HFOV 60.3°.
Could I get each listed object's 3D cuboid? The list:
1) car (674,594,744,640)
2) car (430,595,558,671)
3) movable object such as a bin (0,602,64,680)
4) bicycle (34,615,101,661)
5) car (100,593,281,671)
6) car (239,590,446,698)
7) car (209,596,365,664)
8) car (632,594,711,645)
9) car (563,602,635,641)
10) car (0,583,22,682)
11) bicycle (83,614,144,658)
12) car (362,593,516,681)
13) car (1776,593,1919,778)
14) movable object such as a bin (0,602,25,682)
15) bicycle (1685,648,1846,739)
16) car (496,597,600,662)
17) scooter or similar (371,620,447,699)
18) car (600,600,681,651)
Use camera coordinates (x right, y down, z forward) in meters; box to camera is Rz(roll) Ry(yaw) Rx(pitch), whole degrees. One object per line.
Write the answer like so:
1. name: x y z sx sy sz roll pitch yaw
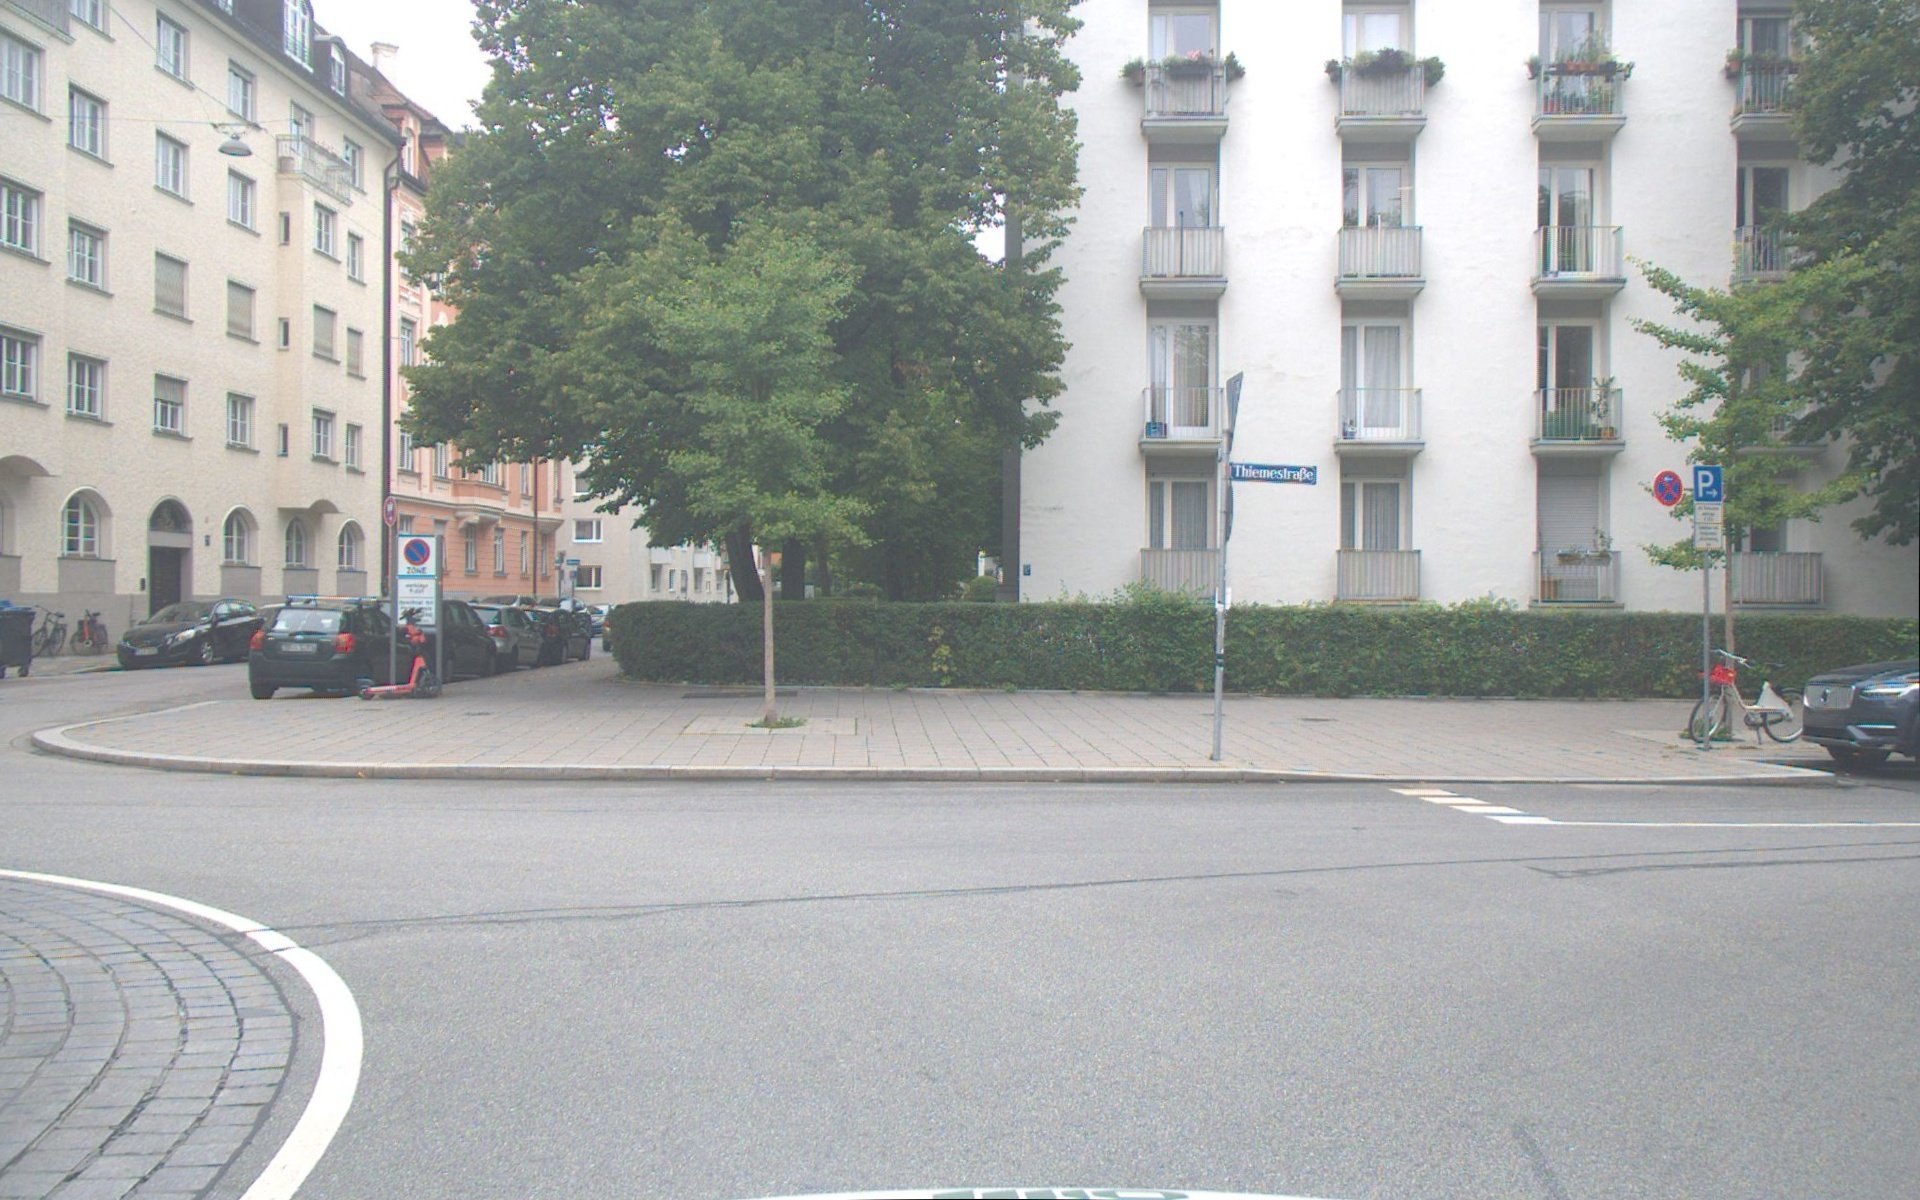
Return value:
1. car: -9.592 0.634 63.432 1.796 1.663 3.822 -1 0 5
2. car: -10.136 0.686 36.259 1.757 1.531 4.113 -1 0 -2
3. movable object such as a bin: -17.938 0.764 31.493 1.068 1.450 1.174 0 0 4
4. bicycle: -21.377 0.899 39.641 0.551 1.067 1.831 0 0 2
5. car: -17.312 0.675 37.503 1.935 1.644 4.712 1 0 -1
6. car: -9.723 0.641 26.414 1.782 1.531 4.420 -1 0 -2
7. car: -17.144 0.724 42.387 1.934 1.608 4.410 1 0 4
8. car: -10.020 0.650 57.777 1.796 1.663 4.117 -1 0 3
9. car: -15.808 0.906 72.635 1.934 1.608 4.410 1 0 4
10. car: -17.689 0.558 26.941 1.934 1.730 4.842 1 0 2
11. bicycle: -21.314 0.895 41.660 0.551 1.067 1.831 0 0 2
12. car: -9.876 0.663 31.675 1.757 1.531 4.232 -1 0 -2
13. car: 11.504 0.878 17.487 4.798 1.823 1.999 0 -1 -2
14. movable object such as a bin: -18.014 0.759 30.304 1.068 1.450 1.174 0 0 4
15. bicycle: 9.731 1.120 19.989 1.790 1.067 0.491 0 0 -9
16. car: -10.402 0.718 42.047 1.757 1.531 4.113 -1 0 -2
17. scooter or similar: -7.853 0.842 23.592 0.986 1.107 0.387 1 0 -25
18. car: -10.215 0.785 53.165 1.798 1.531 4.114 -1 0 -1
